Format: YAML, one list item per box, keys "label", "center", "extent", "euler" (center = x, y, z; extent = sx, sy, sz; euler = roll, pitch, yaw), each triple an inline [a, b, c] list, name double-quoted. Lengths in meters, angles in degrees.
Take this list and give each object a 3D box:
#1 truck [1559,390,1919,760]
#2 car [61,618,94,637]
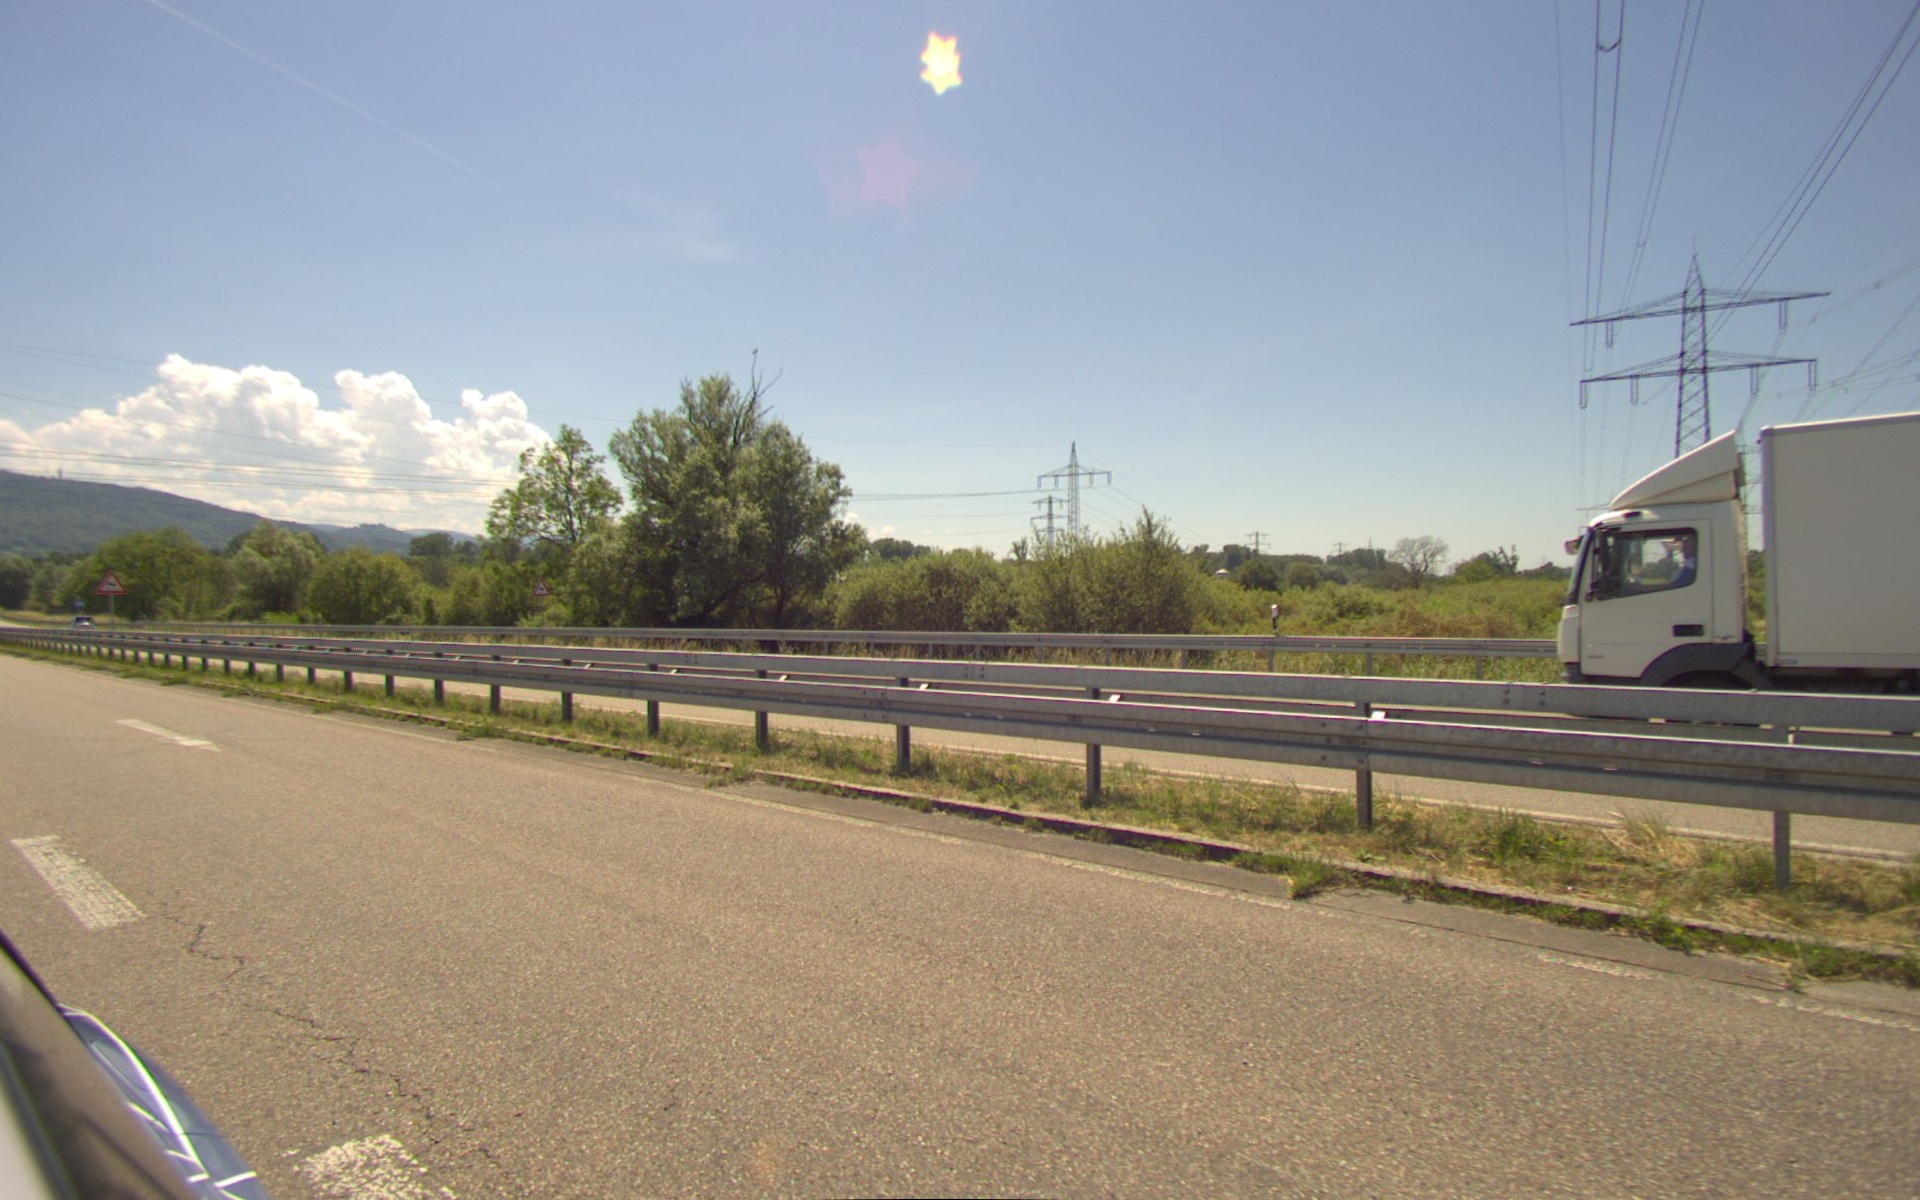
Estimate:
- label: "truck"
  center: [10.337, -0.235, 8.868]
  extent: [8.401, 3.217, 2.690]
  euler: [-1, -1, 41]
- label: "car"
  center: [-68.615, 2.144, 78.669]
  extent: [3.700, 1.460, 1.517]
  euler: [-1, -1, 42]
